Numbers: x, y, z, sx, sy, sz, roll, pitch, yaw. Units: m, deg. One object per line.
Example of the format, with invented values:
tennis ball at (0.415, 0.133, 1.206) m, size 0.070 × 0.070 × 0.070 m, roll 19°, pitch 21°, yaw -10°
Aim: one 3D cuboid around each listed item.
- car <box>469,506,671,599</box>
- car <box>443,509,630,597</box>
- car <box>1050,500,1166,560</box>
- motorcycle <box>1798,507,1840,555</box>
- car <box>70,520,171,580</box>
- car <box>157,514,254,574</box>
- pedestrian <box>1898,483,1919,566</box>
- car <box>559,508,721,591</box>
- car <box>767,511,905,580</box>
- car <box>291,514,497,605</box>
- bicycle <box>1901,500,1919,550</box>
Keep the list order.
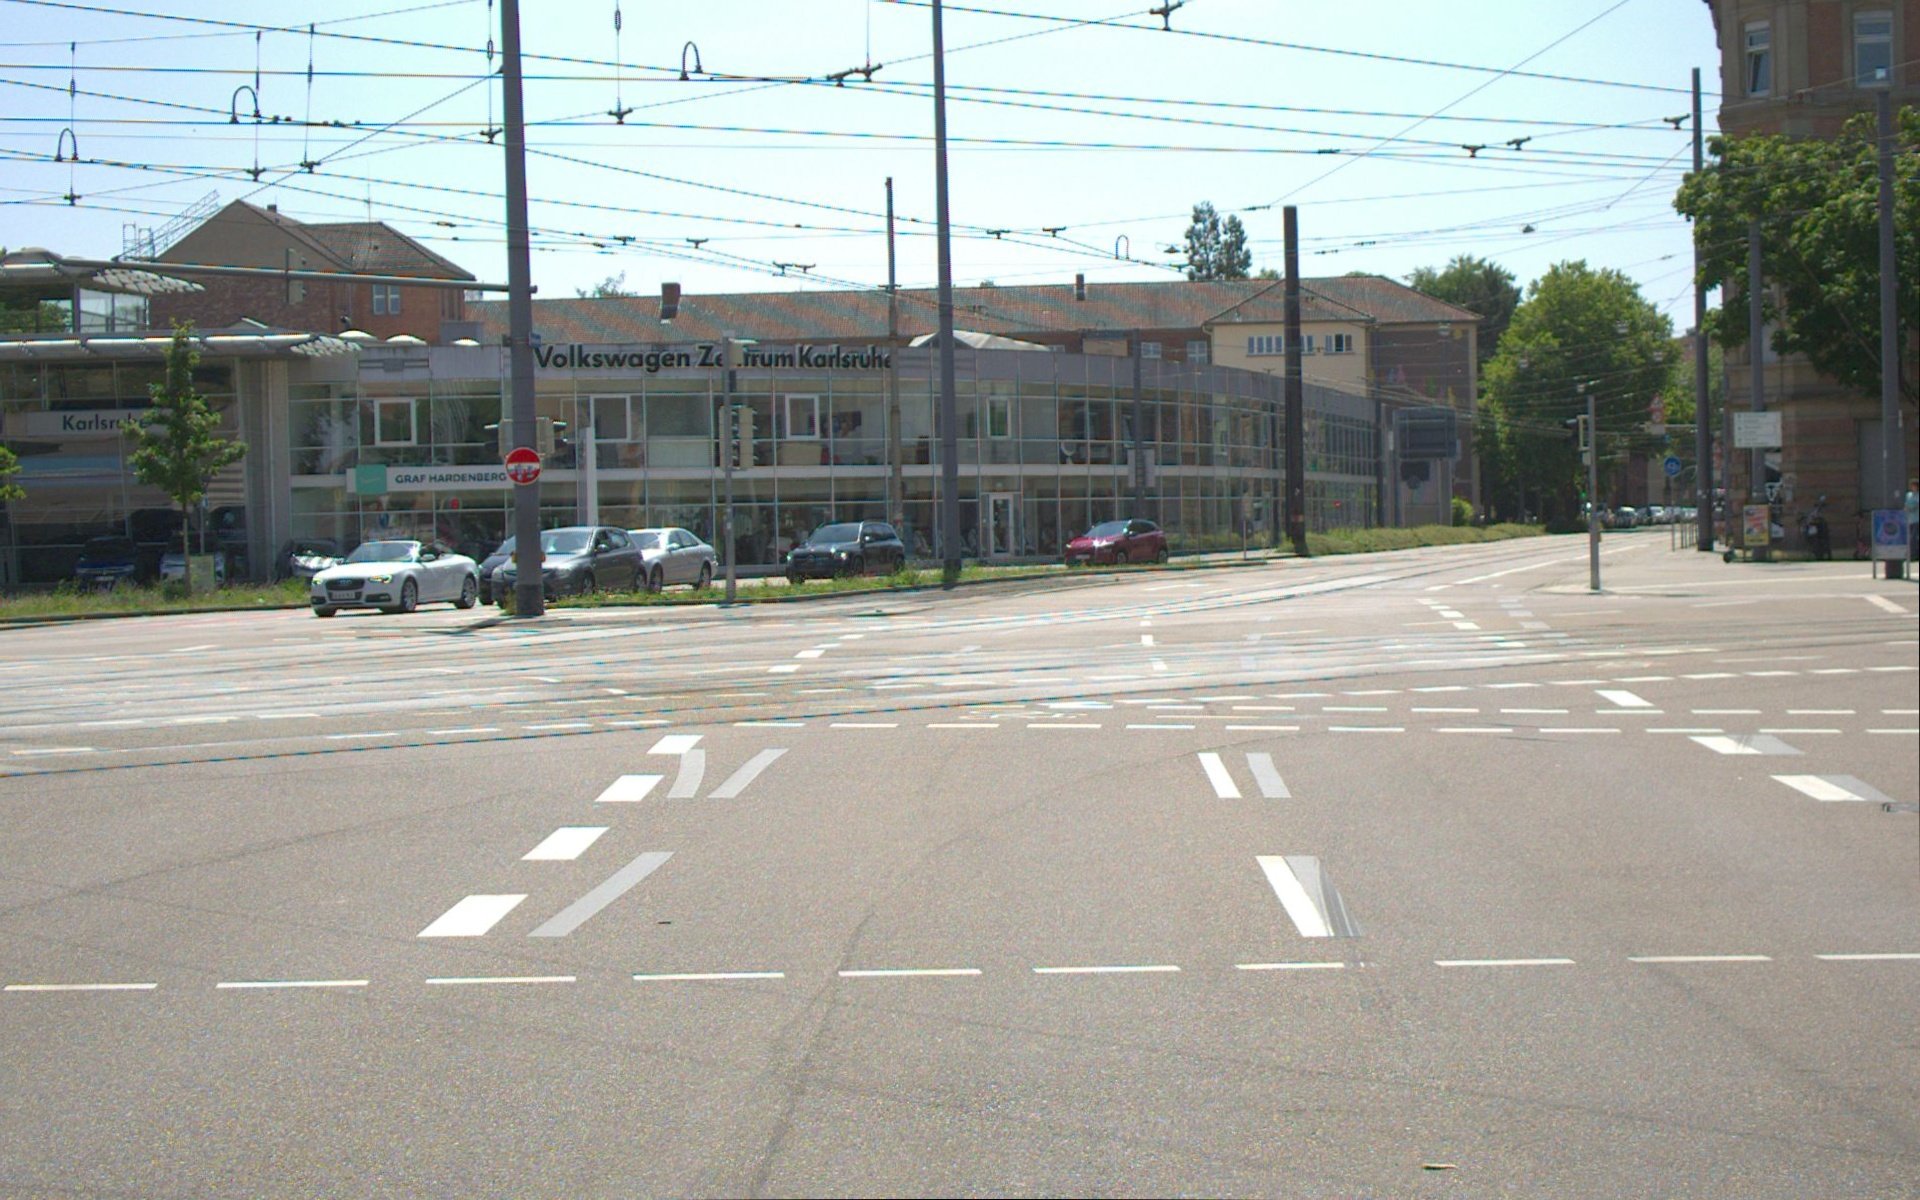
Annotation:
car at (-7.264, -0.917, 64.563) m, size 1.995 × 1.631 × 4.843 m, roll -1°, pitch 1°, yaw 17°
car at (-8.616, -0.986, 70.391) m, size 1.995 × 1.694 × 4.843 m, roll -1°, pitch 1°, yaw 17°
car at (4.579, -2.151, 105.798) m, size 1.997 × 1.769 × 3.994 m, roll 1°, pitch 0°, yaw 29°
motorcycle at (19.758, -1.598, 79.087) m, size 0.580 × 1.071 × 1.946 m, roll -1°, pitch 1°, yaw 3°
car at (-24.403, -1.445, 100.035) m, size 1.920 × 1.701 × 4.000 m, roll 1°, pitch 0°, yaw 0°
car at (-21.940, -1.608, 100.097) m, size 1.920 × 1.701 × 4.000 m, roll 1°, pitch 0°, yaw 0°
pedestrian at (19.777, -1.565, 71.044) m, size 0.460 × 1.702 × 0.640 m, roll -2°, pitch 1°, yaw -19°
car at (-7.062, -1.144, 76.333) m, size 1.995 × 1.733 × 4.540 m, roll -1°, pitch 1°, yaw 17°
car at (-3.158, -1.426, 88.651) m, size 2.080 × 1.677 × 4.843 m, roll -1°, pitch 1°, yaw 17°
car at (-10.512, -0.780, 64.254) m, size 2.078 × 1.574 × 4.844 m, roll -1°, pitch 1°, yaw 13°
bicycle at (22.195, -1.728, 79.576) m, size 0.442 × 1.142 × 2.093 m, roll 1°, pitch 0°, yaw 6°
